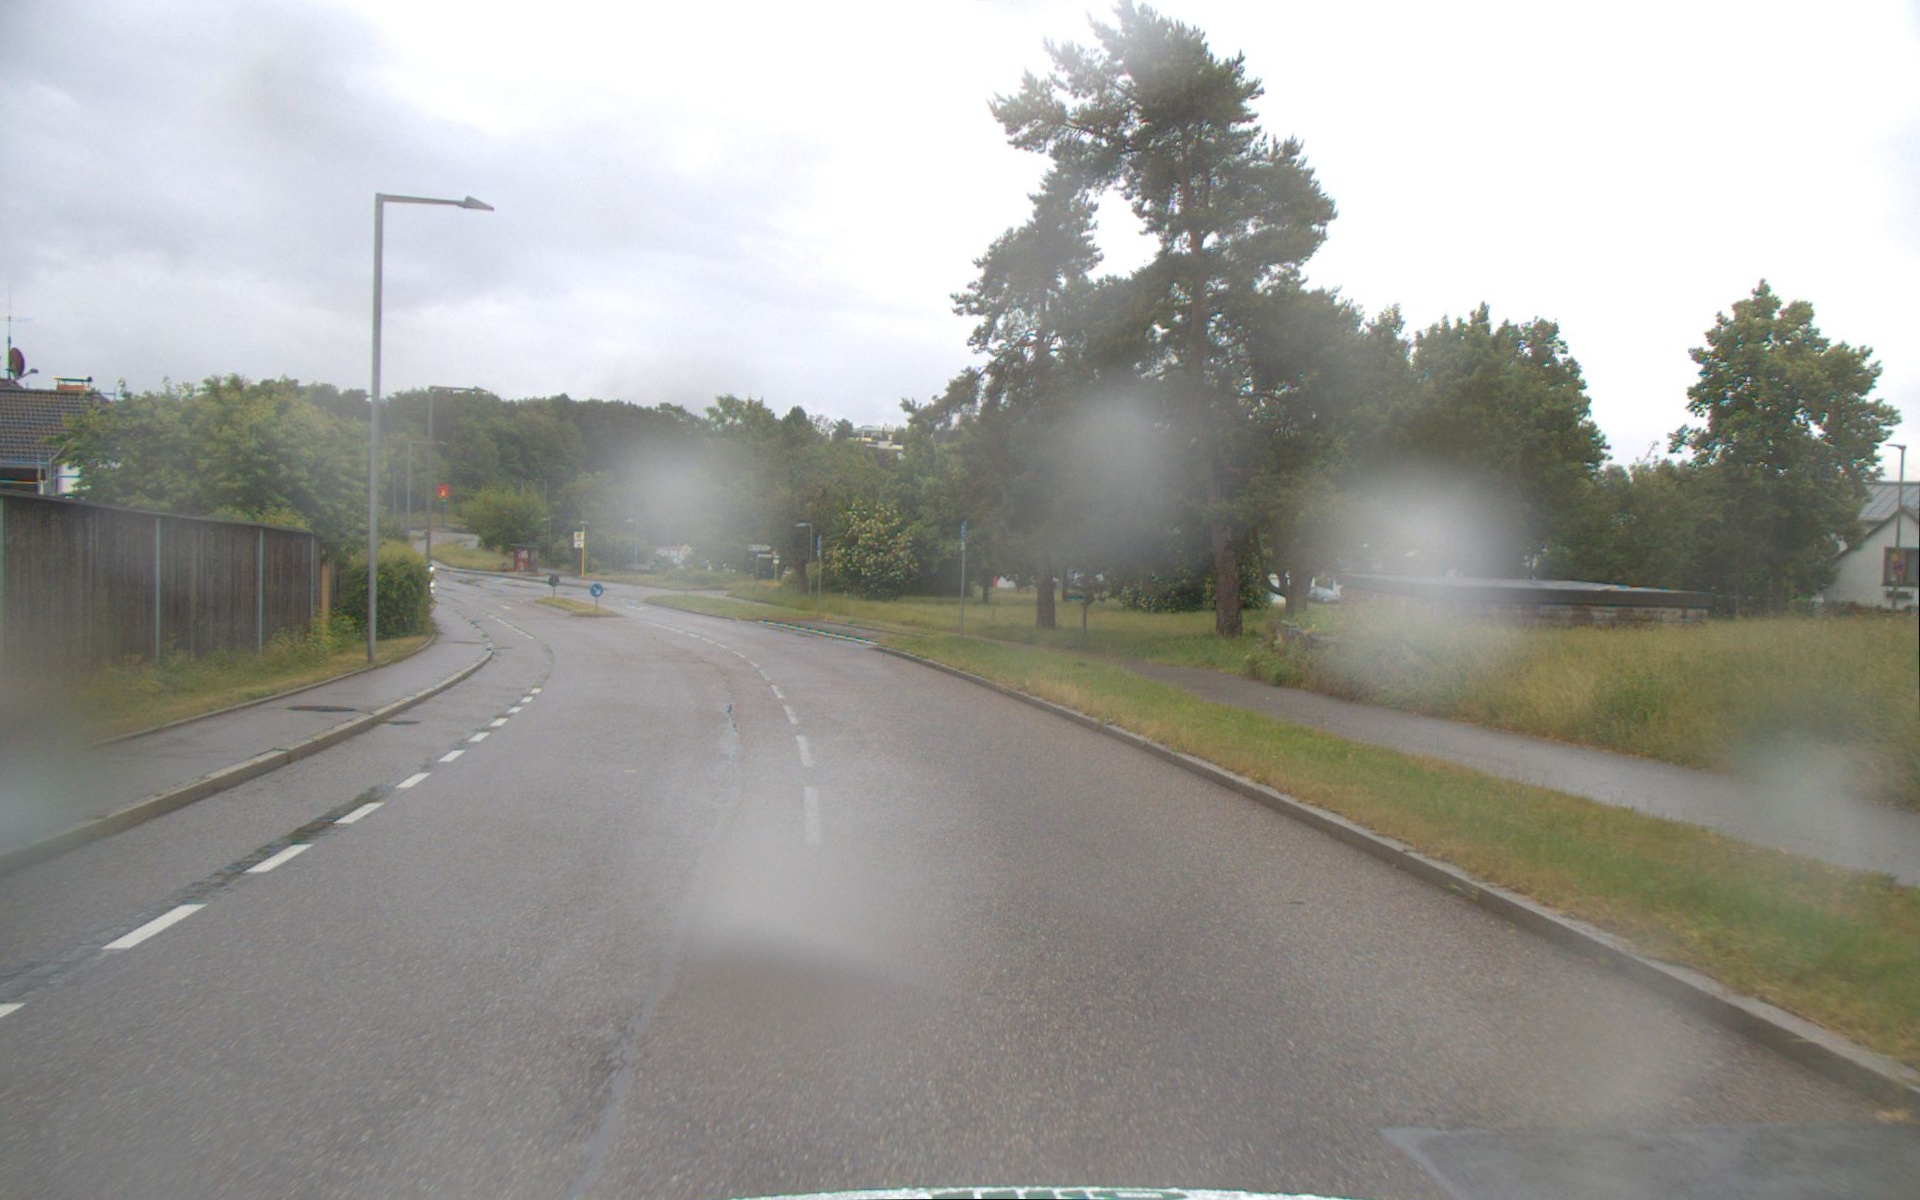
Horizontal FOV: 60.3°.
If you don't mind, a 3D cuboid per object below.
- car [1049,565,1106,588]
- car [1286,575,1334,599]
[{"bbox_3d":[9.805,-1.975,138.188,4.467,1.780,1.906,-2,0,36],"label":"car"},{"bbox_3d":[23.779,-0.895,112.433,1.936,1.489,3.993,-3,1,-8],"label":"car"}]
